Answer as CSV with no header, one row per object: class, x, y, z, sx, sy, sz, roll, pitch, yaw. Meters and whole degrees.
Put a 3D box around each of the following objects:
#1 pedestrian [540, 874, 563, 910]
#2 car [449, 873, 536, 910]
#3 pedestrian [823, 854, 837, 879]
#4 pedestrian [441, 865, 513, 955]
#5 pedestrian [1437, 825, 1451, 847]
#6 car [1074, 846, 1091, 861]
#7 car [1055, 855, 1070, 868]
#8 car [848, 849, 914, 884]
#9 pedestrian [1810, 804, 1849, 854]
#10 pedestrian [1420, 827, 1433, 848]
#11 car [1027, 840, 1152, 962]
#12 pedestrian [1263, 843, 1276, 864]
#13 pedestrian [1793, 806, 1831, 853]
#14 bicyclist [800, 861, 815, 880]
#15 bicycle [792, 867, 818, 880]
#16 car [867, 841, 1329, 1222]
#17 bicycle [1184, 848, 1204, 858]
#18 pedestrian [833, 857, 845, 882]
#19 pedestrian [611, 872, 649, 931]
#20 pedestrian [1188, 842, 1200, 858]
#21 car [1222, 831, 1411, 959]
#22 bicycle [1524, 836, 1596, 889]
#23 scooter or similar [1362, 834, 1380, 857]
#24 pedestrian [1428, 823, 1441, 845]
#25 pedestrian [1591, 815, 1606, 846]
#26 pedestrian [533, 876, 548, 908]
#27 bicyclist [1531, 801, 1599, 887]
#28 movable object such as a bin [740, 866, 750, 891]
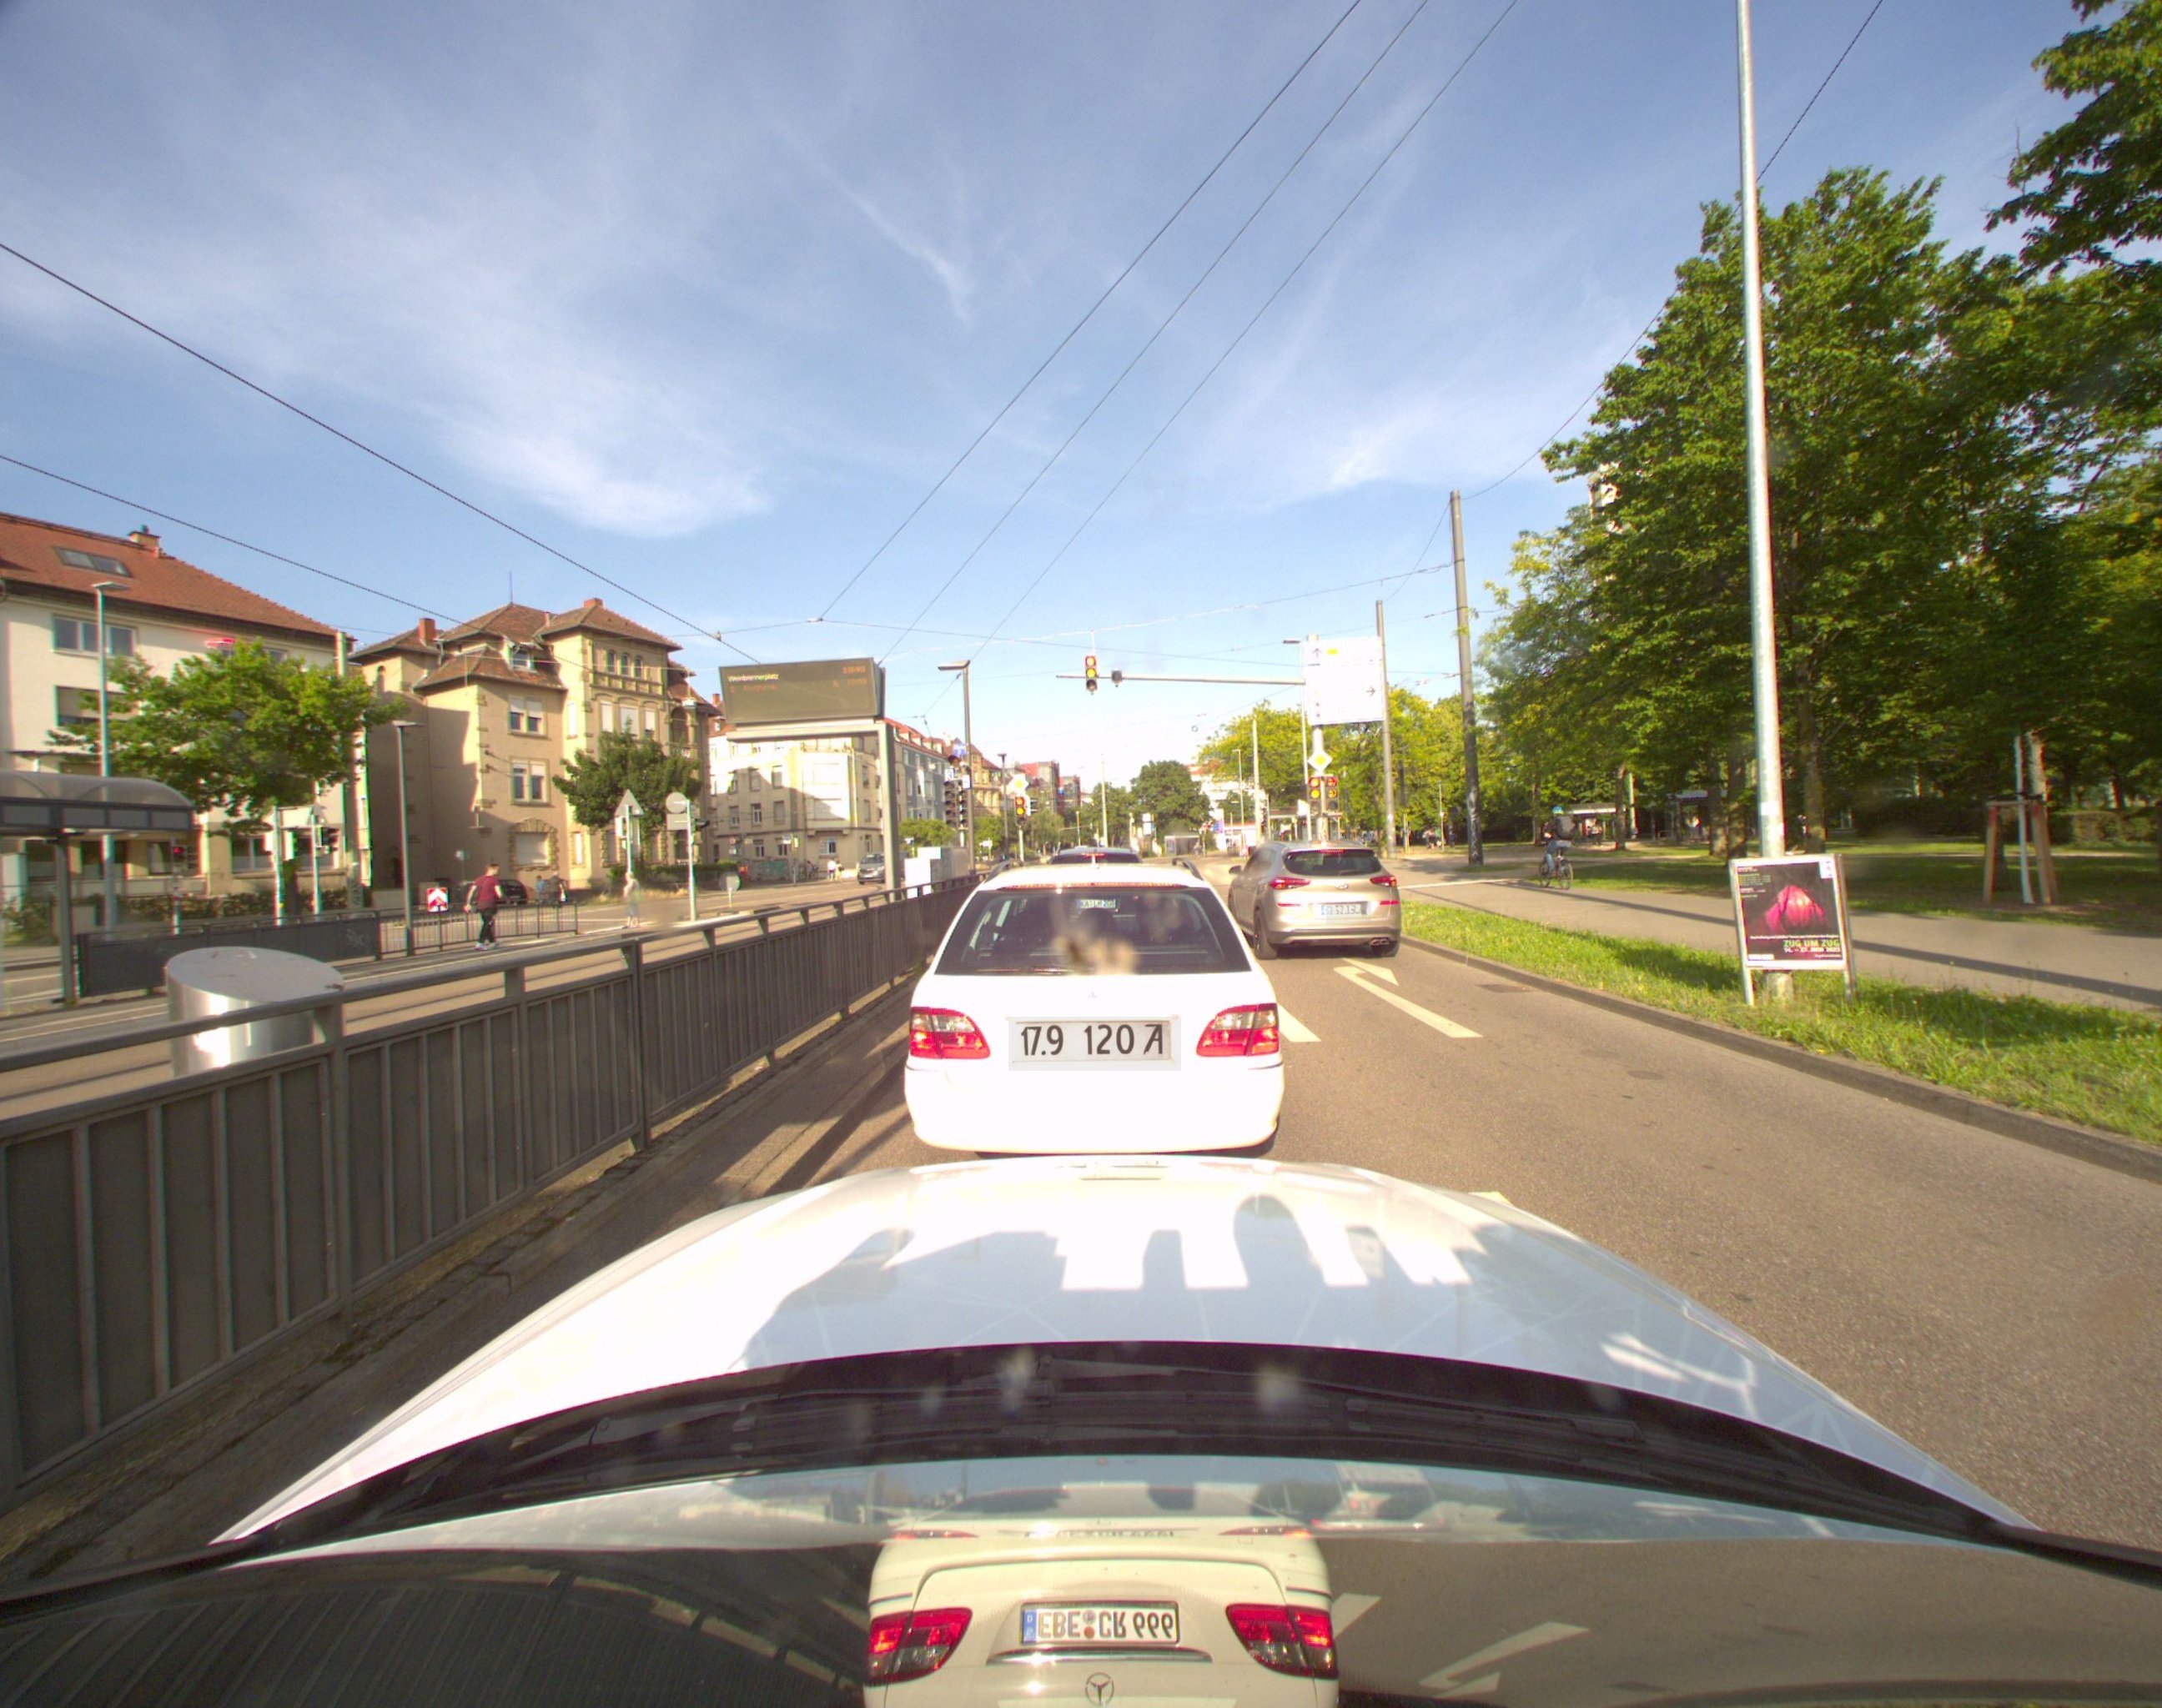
pedestrian,-24.687,1.774,37.984,0.672,1.651,0.608,-3,0,28
car,-29.345,1.875,40.569,3.950,1.632,1.787,-3,1,26
pedestrian,-19.256,0.984,62.443,0.653,1.881,0.629,-3,0,16
pedestrian,-11.750,1.063,15.872,0.668,1.670,0.883,-3,0,-1
pedestrian,27.665,-1.347,62.072,0.638,1.665,0.691,-3,0,1
car,0.262,-0.144,126.604,2.168,2.239,5.257,-3,0,3
car,-2.437,1.005,110.242,1.670,1.525,4.128,-3,1,3
car,-12.618,0.739,51.851,2.133,2.013,5.398,-3,0,7
pedestrian,29.040,-0.964,31.608,0.668,1.897,0.880,0,0,3
pedestrian,27.196,-1.332,64.106,0.638,1.610,0.691,-3,0,1
car,0.175,0.626,12.784,1.635,1.600,3.817,-1,0,2
pedestrian,18.588,-0.077,80.439,0.986,2.013,0.833,-3,0,29
pedestrian,28.119,-0.923,31.324,0.668,1.777,0.881,0,0,3
bicyclist,-23.823,1.423,70.899,1.037,1.569,0.661,-3,0,-3
bicycle,-24.000,1.721,70.885,1.985,1.006,0.742,-3,0,-1
car,0.125,0.709,5.180,1.828,1.501,3.817,-1,0,2
bicycle,12.123,-0.094,87.343,2.000,0.947,0.884,-3,0,21
pedestrian,-18.545,1.203,62.470,0.672,1.848,0.649,-3,0,-1
pedestrian,-12.537,1.306,22.663,0.588,1.589,0.715,-3,0,-2
pedestrian,12.108,-0.420,87.325,0.998,1.591,0.870,-3,0,21
car,3.337,0.514,12.291,1.828,1.600,3.817,-1,0,2
bicycle,10.654,0.175,18.174,0.637,1.088,1.736,-5,0,6
scooter or similar,16.112,-0.446,45.222,0.351,1.232,1.131,-3,0,-12
pedestrian,27.440,-1.532,63.253,0.638,1.665,0.691,-3,0,1
pedestrian,31.962,-1.425,50.281,0.462,1.868,0.602,0,-1,-19
pedestrian,-26.356,1.847,39.723,0.400,1.515,0.392,-3,0,28
bicyclist,10.586,-0.214,17.859,0.716,1.745,1.142,-6,0,5
movable object such as a bin,-23.352,1.689,56.588,0.265,1.709,2.360,-3,0,-29
